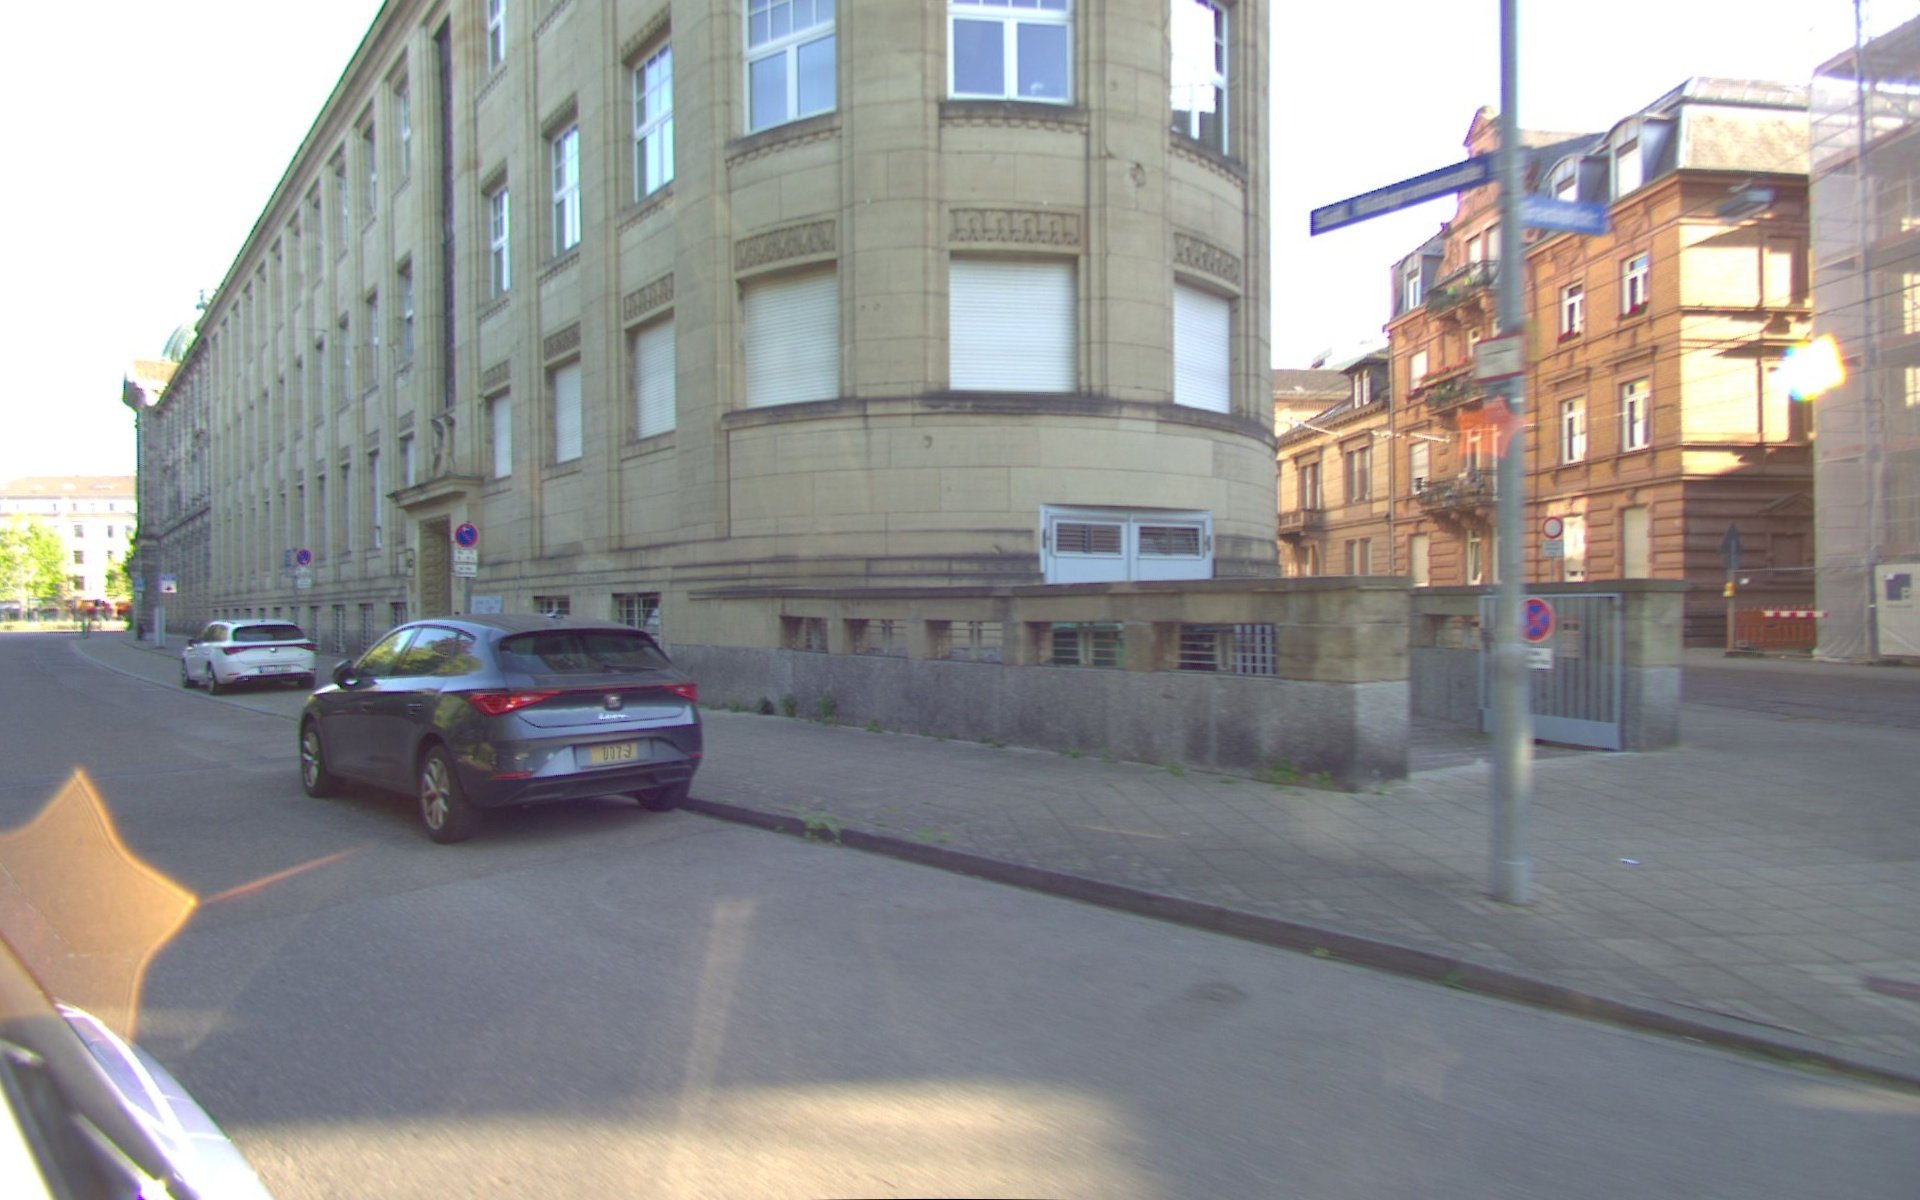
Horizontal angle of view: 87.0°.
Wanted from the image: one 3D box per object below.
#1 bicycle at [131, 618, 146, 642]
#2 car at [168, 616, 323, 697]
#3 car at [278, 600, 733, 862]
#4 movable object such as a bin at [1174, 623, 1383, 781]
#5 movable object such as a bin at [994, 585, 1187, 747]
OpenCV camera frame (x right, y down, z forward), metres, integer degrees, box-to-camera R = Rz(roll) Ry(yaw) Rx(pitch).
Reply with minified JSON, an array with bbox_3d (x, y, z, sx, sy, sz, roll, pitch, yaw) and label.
[{"bbox_3d":[-43.689,1.593,53.813,0.450,1.218,1.882,0,-1,-34],"label":"bicycle"},{"bbox_3d":[-14.860,1.099,20.940,4.561,1.445,1.724,-1,0,43],"label":"car"},{"bbox_3d":[-3.659,0.761,7.728,4.209,1.459,1.724,-1,-1,44],"label":"car"},{"bbox_3d":[3.236,0.978,10.529,1.166,1.439,1.927,-1,-1,-17],"label":"movable object such as a bin"},{"bbox_3d":[1.303,0.625,10.377,1.131,1.497,1.631,0,-1,-37],"label":"movable object such as a bin"}]
